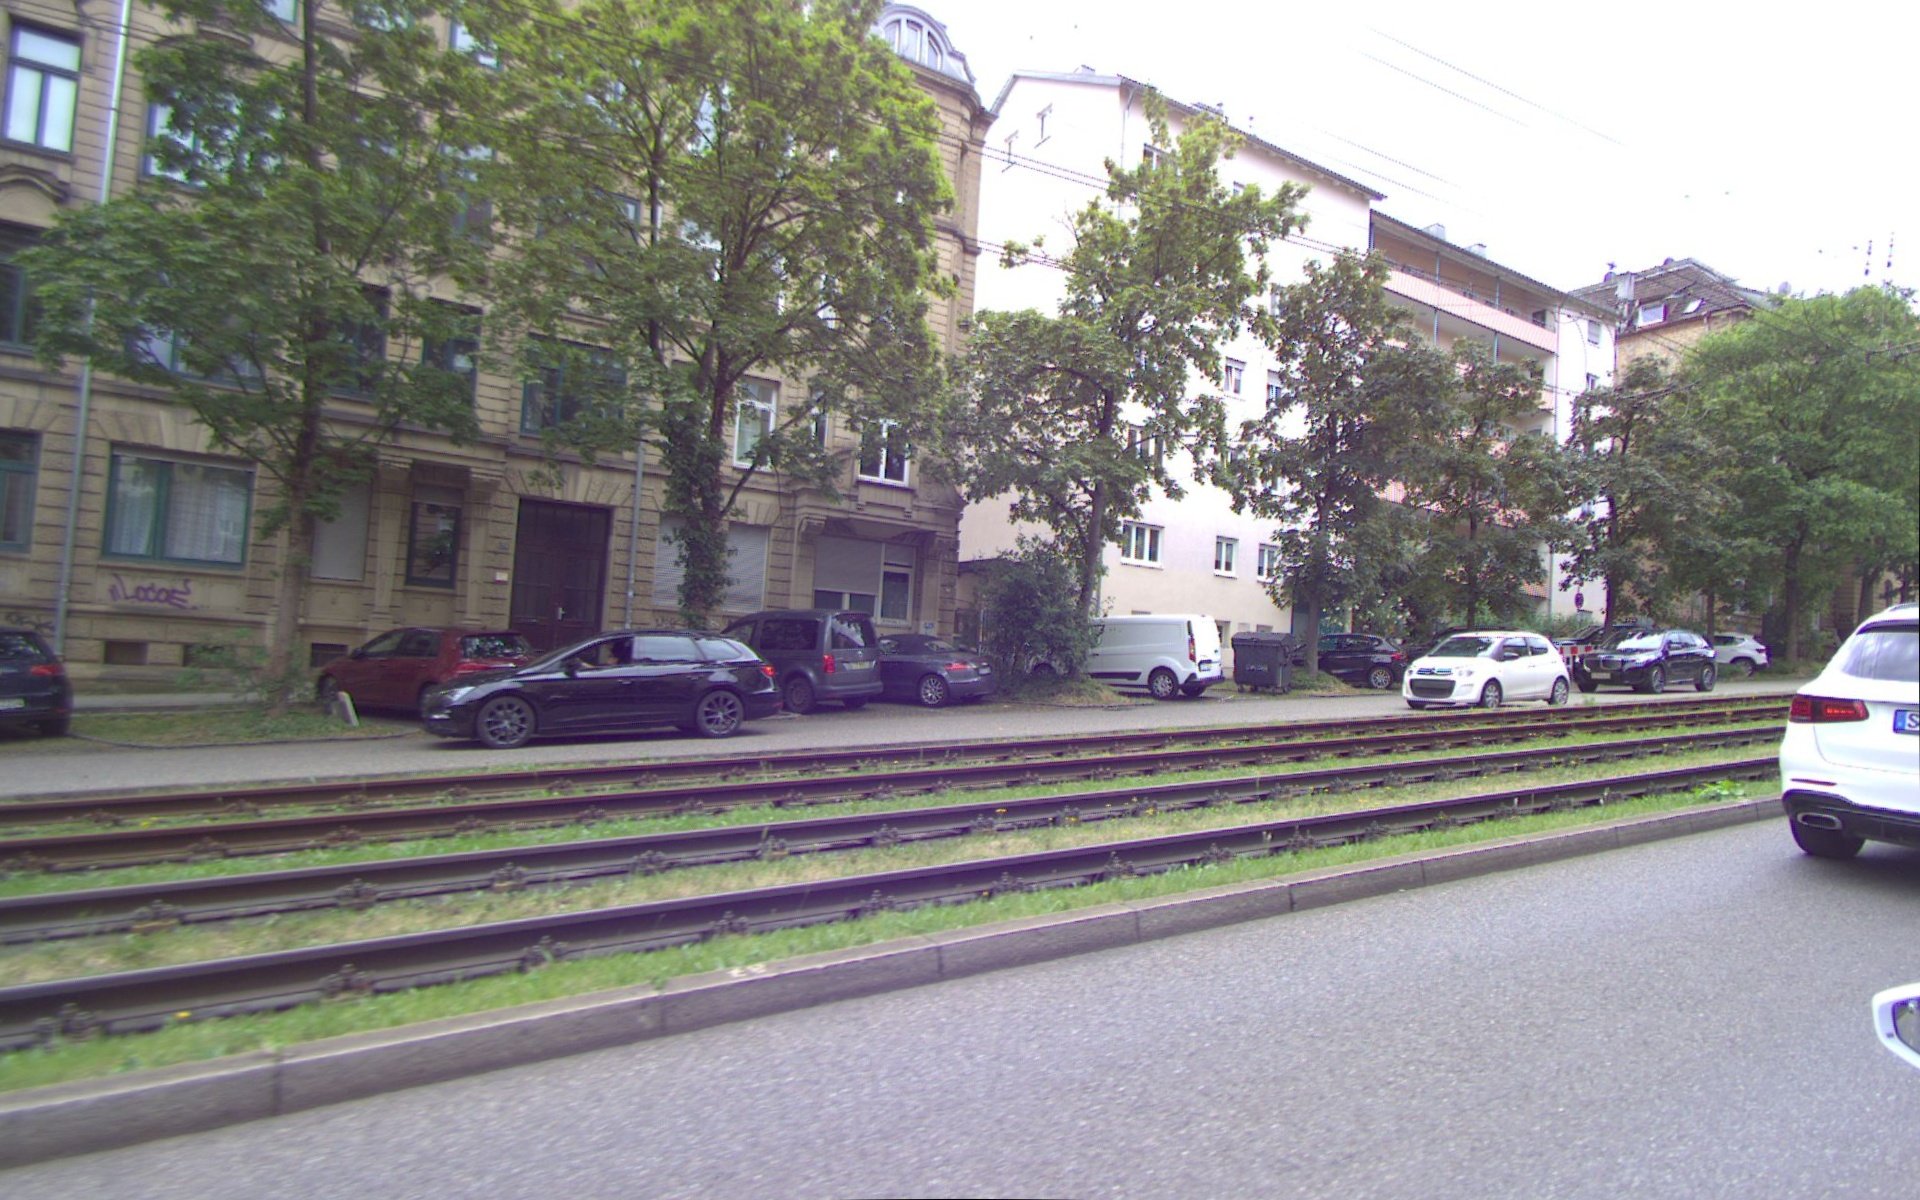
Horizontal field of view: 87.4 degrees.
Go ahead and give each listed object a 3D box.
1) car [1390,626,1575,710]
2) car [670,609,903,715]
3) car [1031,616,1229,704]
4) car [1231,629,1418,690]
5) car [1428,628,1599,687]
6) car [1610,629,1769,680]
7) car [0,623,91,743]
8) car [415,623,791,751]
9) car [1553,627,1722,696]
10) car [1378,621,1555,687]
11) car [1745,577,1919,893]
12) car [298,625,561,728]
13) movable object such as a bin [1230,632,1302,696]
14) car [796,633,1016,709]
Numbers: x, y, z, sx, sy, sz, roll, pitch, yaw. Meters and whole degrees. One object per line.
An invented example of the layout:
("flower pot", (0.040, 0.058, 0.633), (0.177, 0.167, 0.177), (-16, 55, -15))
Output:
("car", (9.966, 1.265, 19.123), (3.374, 1.454, 1.580), (1, -3, -31))
("car", (-3.295, 1.103, 18.942), (4.117, 1.791, 1.868), (-1, -2, 31))
("car", (3.889, 1.319, 23.188), (4.121, 1.860, 1.867), (-1, -2, 34))
("car", (9.825, 1.548, 27.144), (4.522, 1.362, 1.934), (1, 0, 27))
("car", (17.200, 1.738, 31.420), (4.522, 1.569, 1.934), (1, 0, 27))
("car", (27.193, 1.988, 37.665), (4.521, 1.639, 1.934), (1, 0, 27))
("car", (-13.373, 1.032, 13.257), (4.121, 1.454, 1.866), (-1, -2, 34))
("car", (-4.668, 1.109, 13.342), (4.442, 1.454, 1.857), (2, -5, -31))
("car", (17.704, 1.572, 26.194), (4.555, 1.671, 1.908), (1, -3, -31))
("car", (14.978, 1.545, 29.878), (4.522, 1.704, 1.934), (1, 0, 27))
("car", (7.171, 0.785, 6.489), (4.618, 1.689, 1.826), (2, -1, -32))
("car", (-8.572, 1.149, 16.168), (4.117, 1.454, 1.868), (-1, -2, 31))
("movable object such as a bin", (7.202, 1.491, 23.655), (1.261, 1.419, 1.090), (0, -1, 44))
("car", (-1.110, 1.370, 20.325), (4.117, 1.357, 1.868), (-1, -2, 31))
